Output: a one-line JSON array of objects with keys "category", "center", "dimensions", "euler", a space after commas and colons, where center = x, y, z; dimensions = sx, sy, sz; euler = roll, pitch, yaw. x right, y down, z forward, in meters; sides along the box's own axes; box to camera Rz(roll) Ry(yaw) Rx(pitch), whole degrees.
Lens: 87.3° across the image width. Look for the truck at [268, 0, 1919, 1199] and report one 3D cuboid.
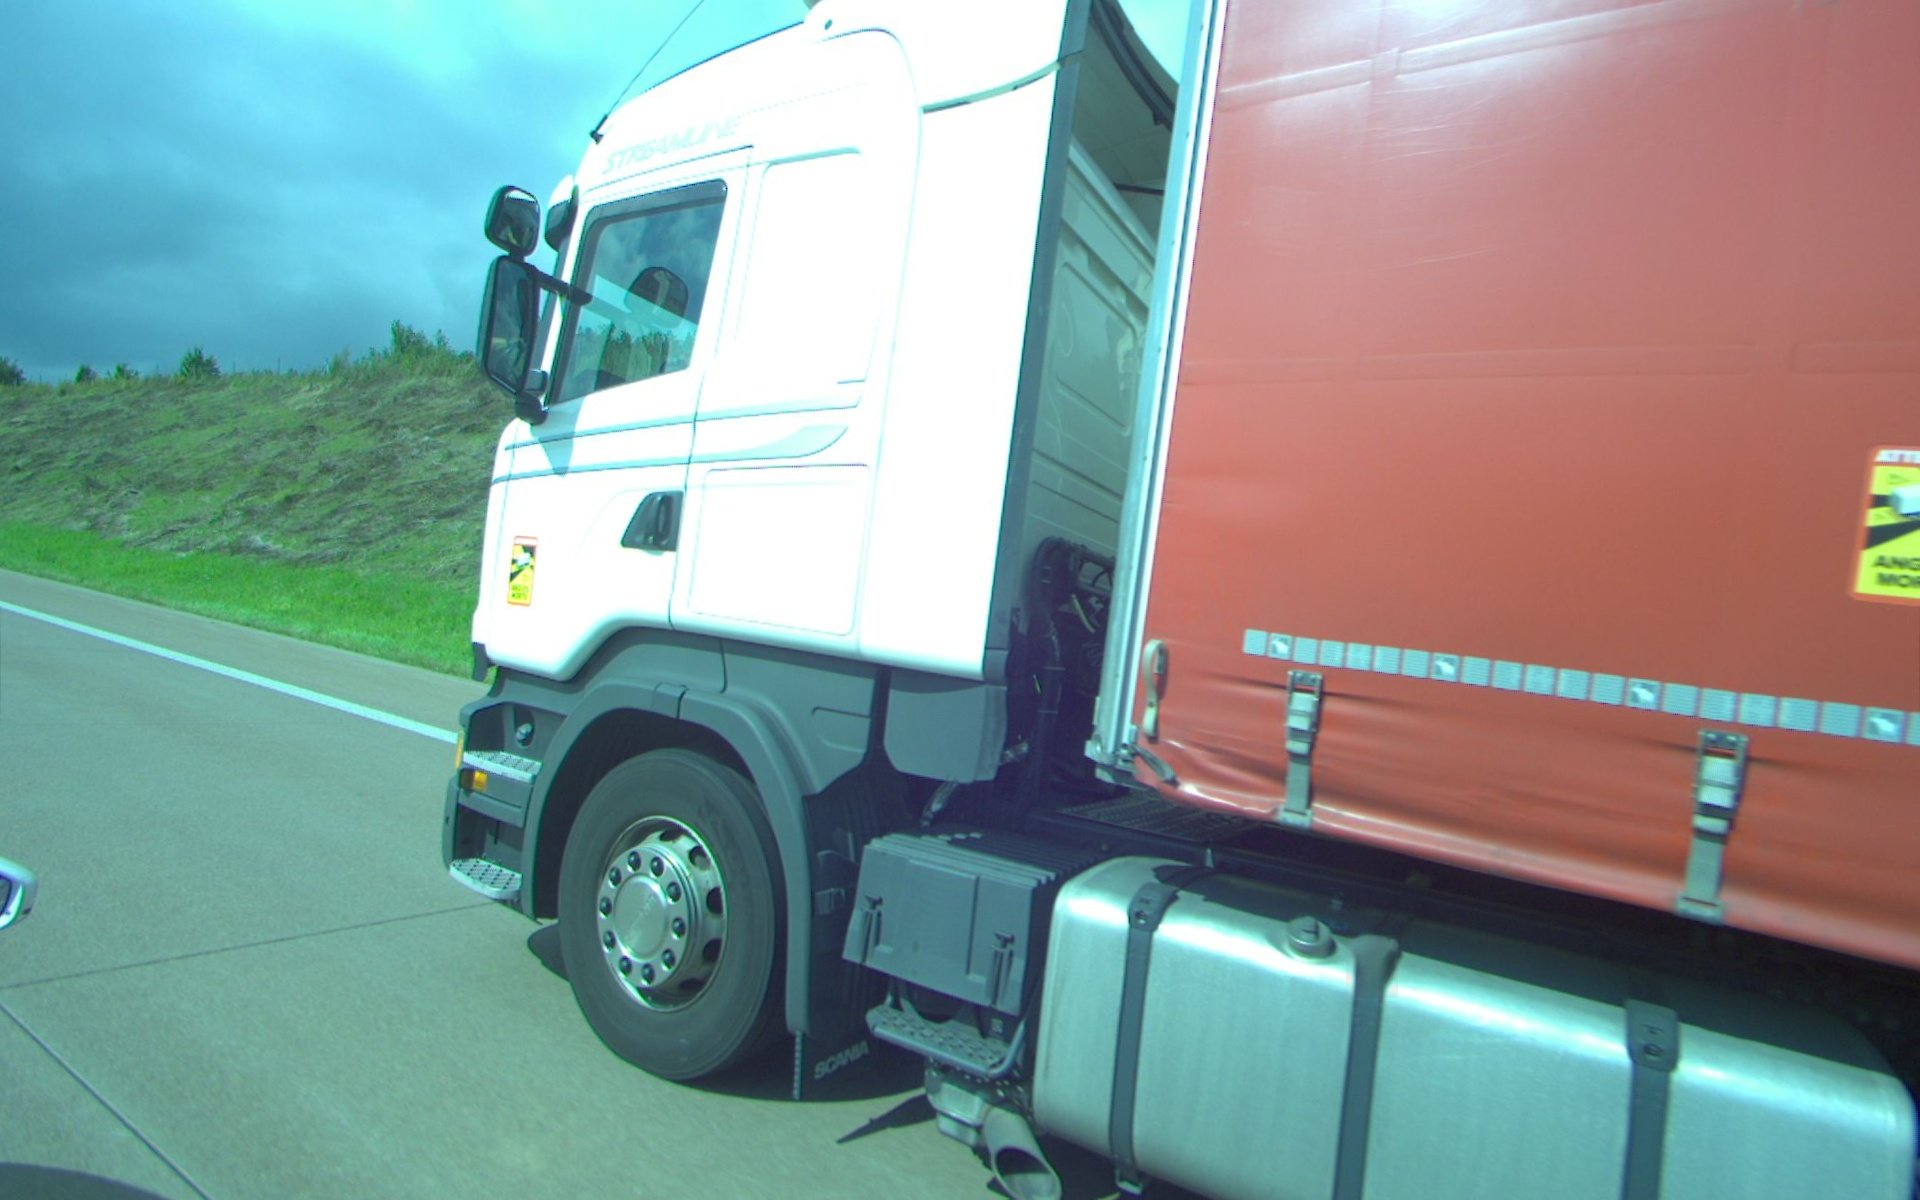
[{"category": "truck", "center": [0.874, -0.375, 3.506], "dimensions": [6.506, 4.155, 2.678], "euler": [7, -1, 32]}]
